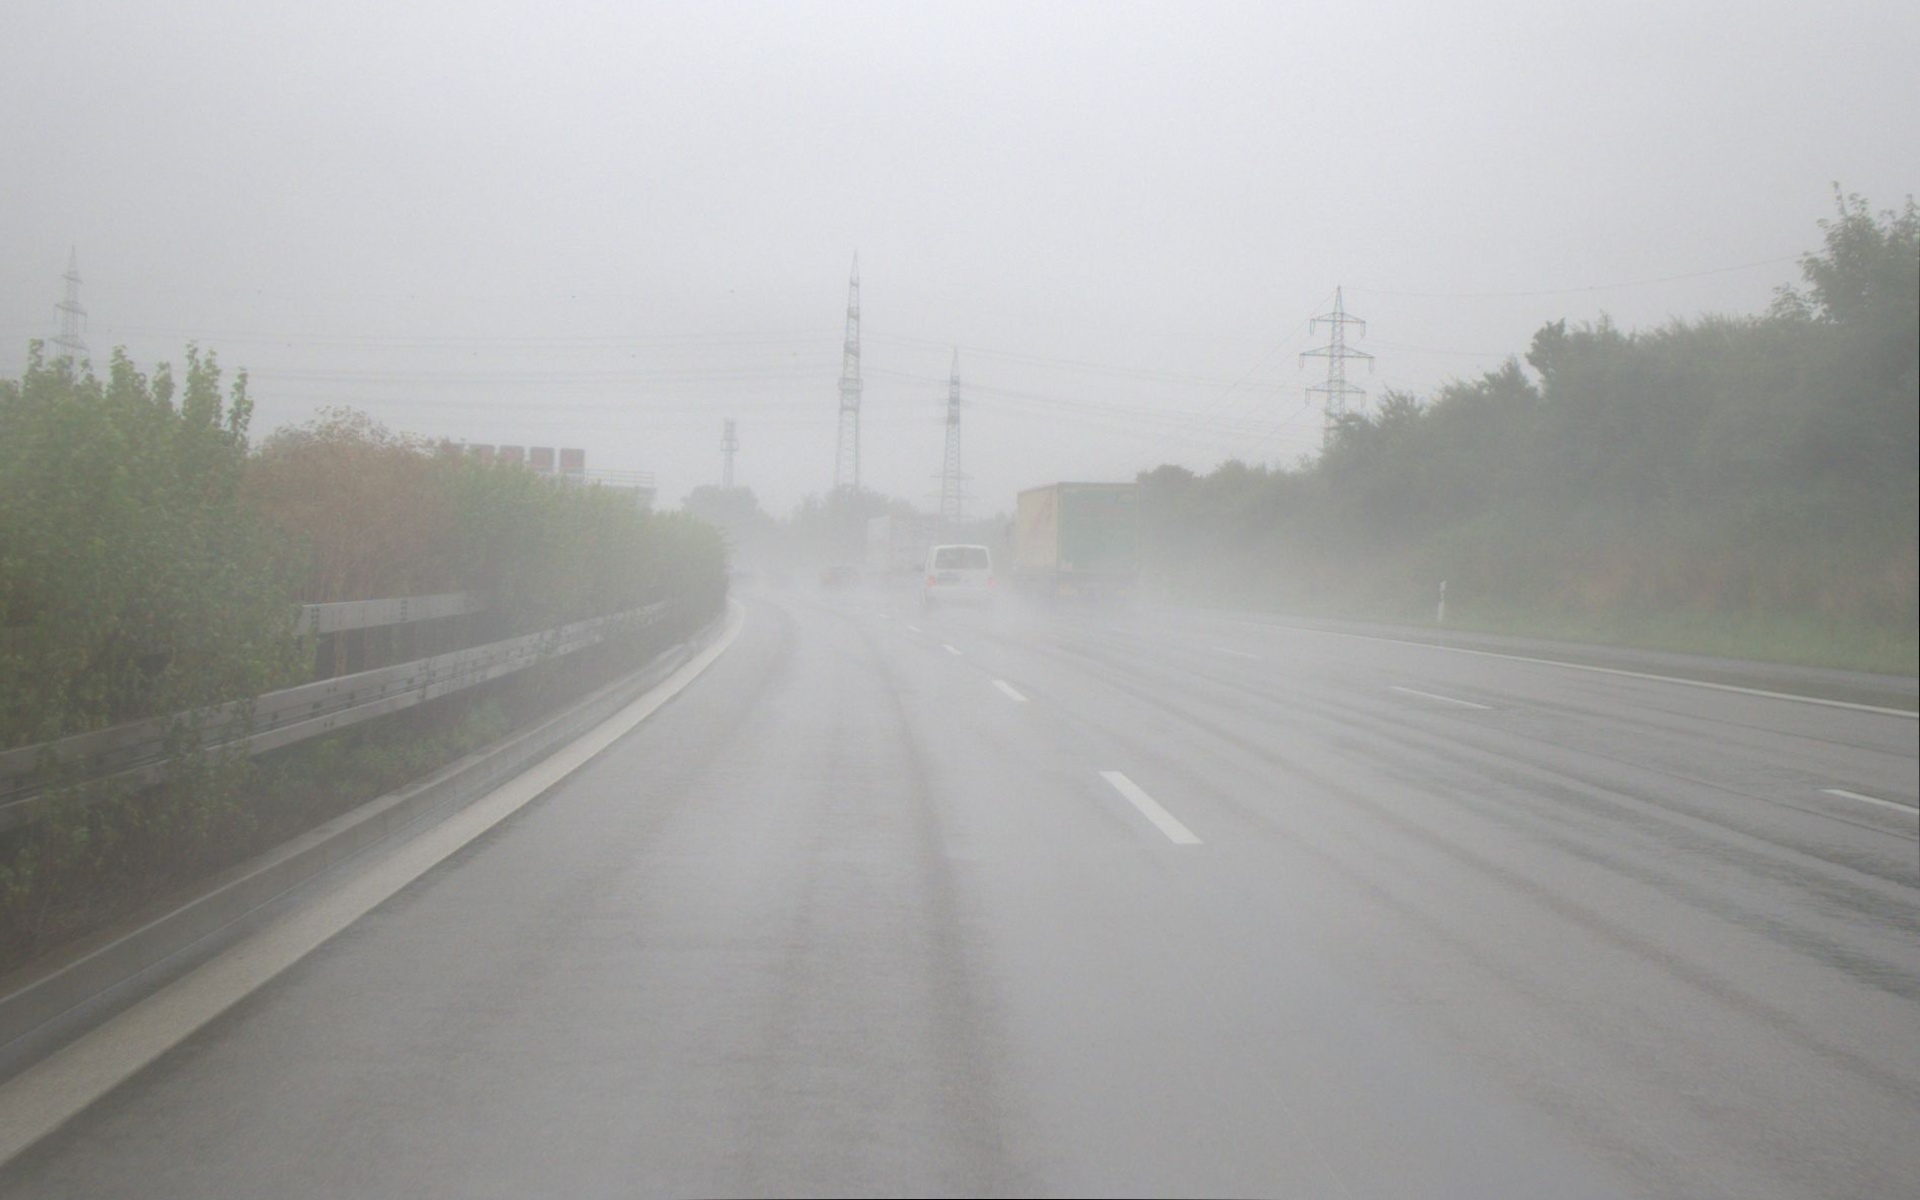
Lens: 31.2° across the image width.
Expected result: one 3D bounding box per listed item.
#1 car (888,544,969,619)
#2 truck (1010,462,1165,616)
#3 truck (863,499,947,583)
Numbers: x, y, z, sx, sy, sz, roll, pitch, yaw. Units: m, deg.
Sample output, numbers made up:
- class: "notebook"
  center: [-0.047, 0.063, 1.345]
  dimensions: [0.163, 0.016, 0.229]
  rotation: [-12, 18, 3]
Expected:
- class: "car"
  center: [-0.883, -0.536, 94.880]
  dimensions: [1.993, 2.007, 4.001]
  rotation: [0, 1, -4]
- class: "truck"
  center: [3.956, -1.895, 111.757]
  dimensions: [4.189, 4.614, 16.106]
  rotation: [0, 0, -1]
- class: "truck"
  center: [-2.966, -3.127, 182.389]
  dimensions: [3.232, 4.297, 8.839]
  rotation: [0, 1, -9]
